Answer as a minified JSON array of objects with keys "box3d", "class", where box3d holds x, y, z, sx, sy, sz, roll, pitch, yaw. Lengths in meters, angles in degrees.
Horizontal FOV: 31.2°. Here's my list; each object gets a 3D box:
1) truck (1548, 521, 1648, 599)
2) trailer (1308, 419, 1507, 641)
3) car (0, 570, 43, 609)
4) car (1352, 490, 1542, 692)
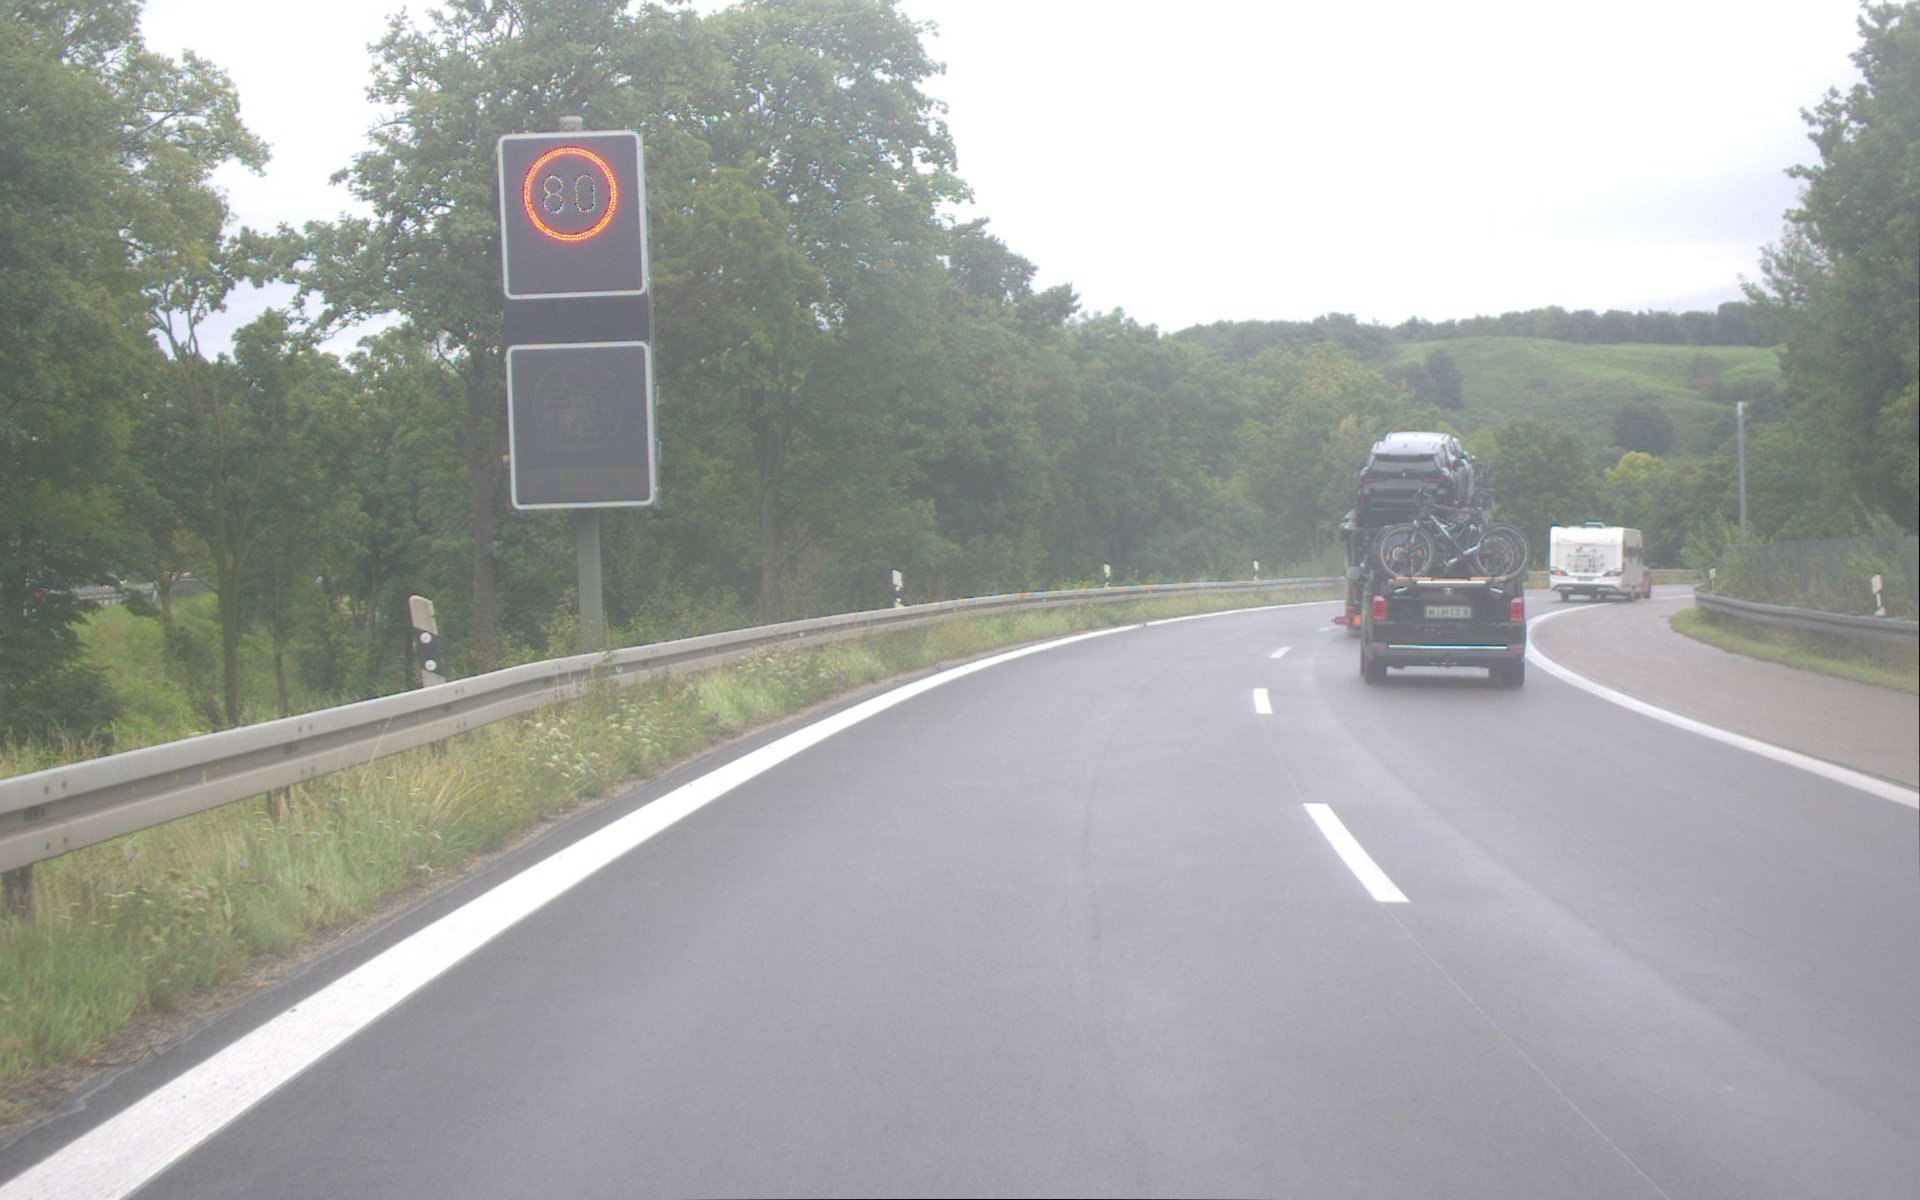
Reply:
[{"box3d":[22.212,-1.419,119.570,2.650,2.596,6.414,-1,1,17],"class":"truck"},{"box3d":[8.819,-1.406,69.165,3.450,3.986,12.025,2,1,5],"class":"trailer"},{"box3d":[-40.732,-0.458,148.109,1.961,1.632,5.626,-1,0,-11],"class":"car"},{"box3d":[5.861,-0.152,41.851,2.110,2.257,5.895,-1,1,7],"class":"car"}]
